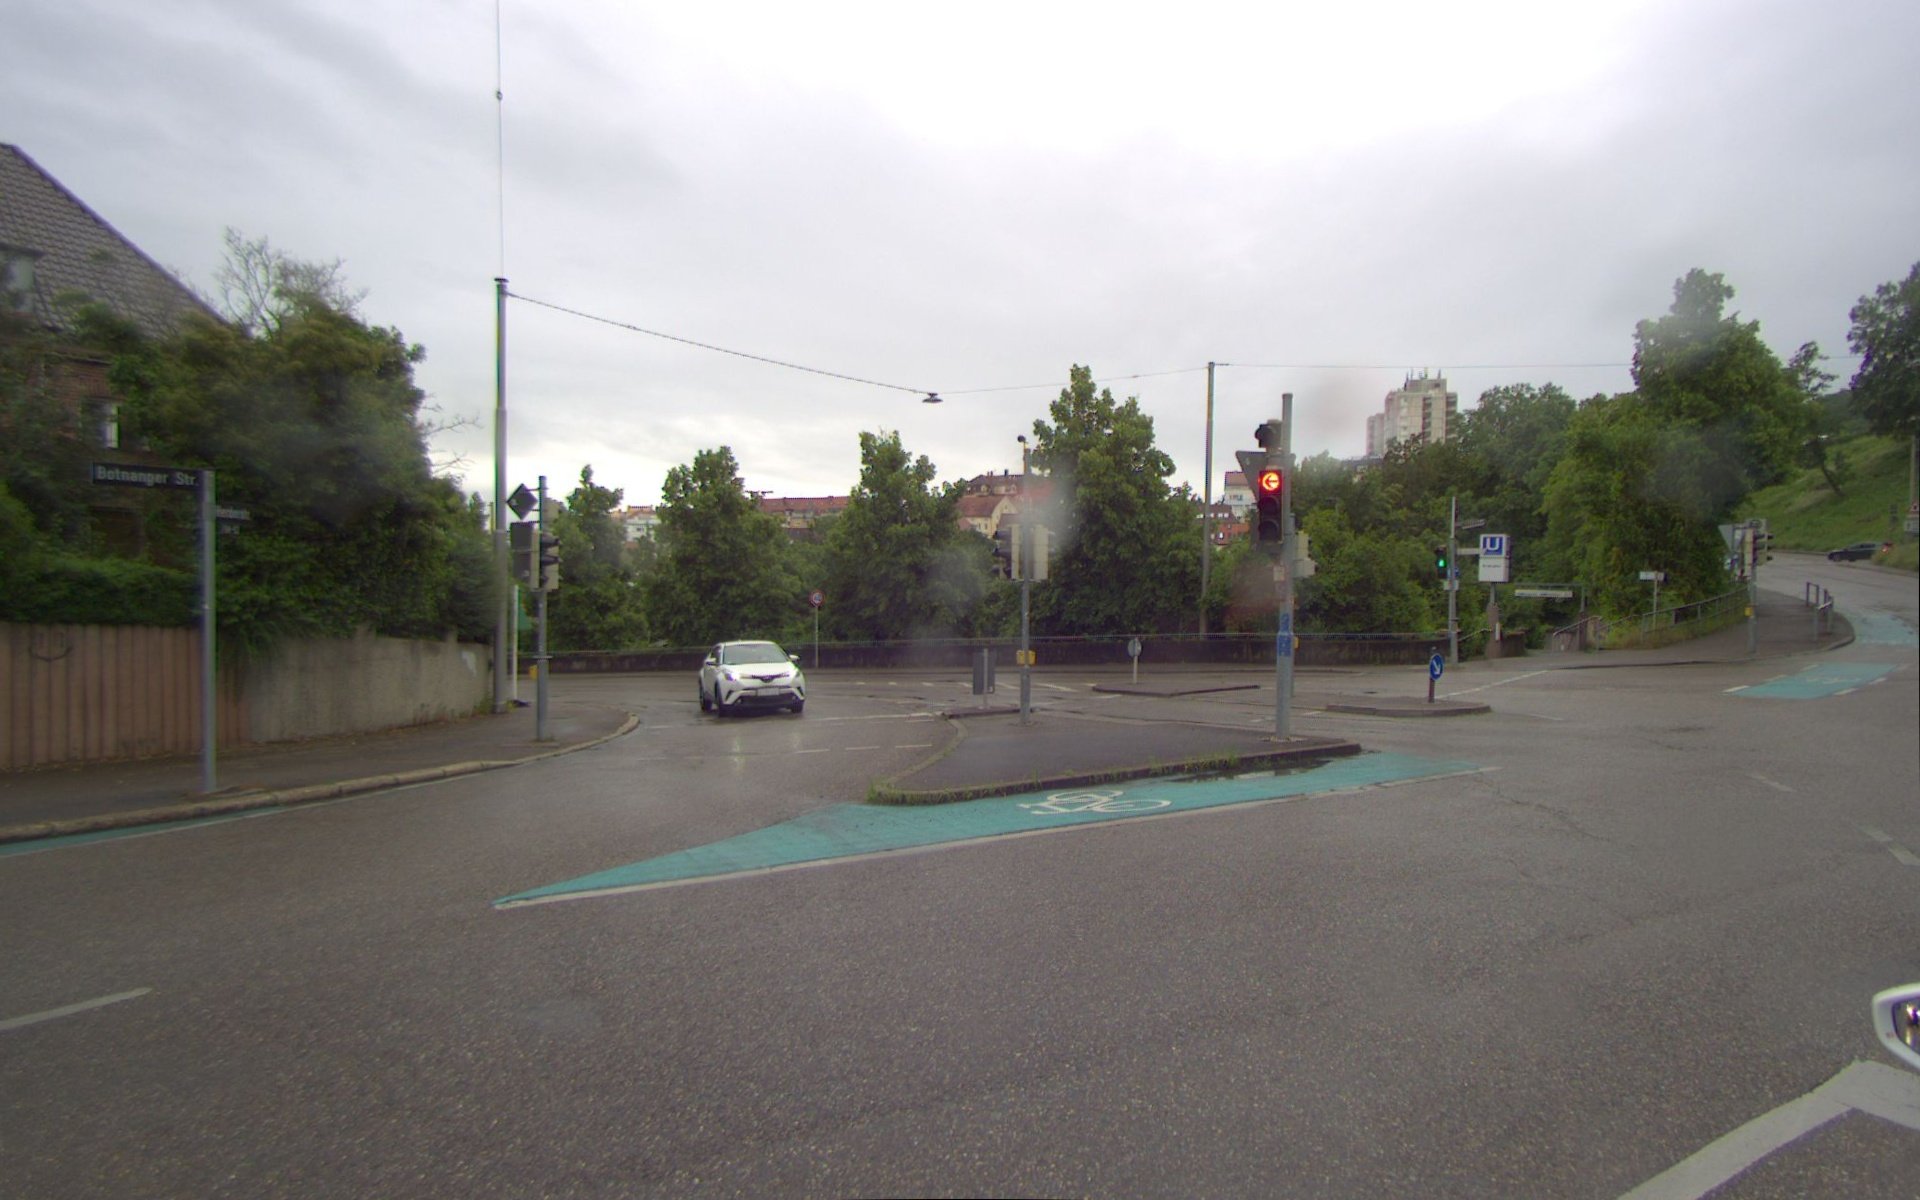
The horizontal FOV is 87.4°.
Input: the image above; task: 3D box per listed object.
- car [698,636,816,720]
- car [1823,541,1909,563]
[{"bbox_3d":[-4.480,1.647,21.715,1.810,1.527,3.866,-2,-2,-22],"label":"car"},{"bbox_3d":[66.708,-3.499,74.038,1.930,1.532,4.389,-1,2,-16],"label":"car"}]
